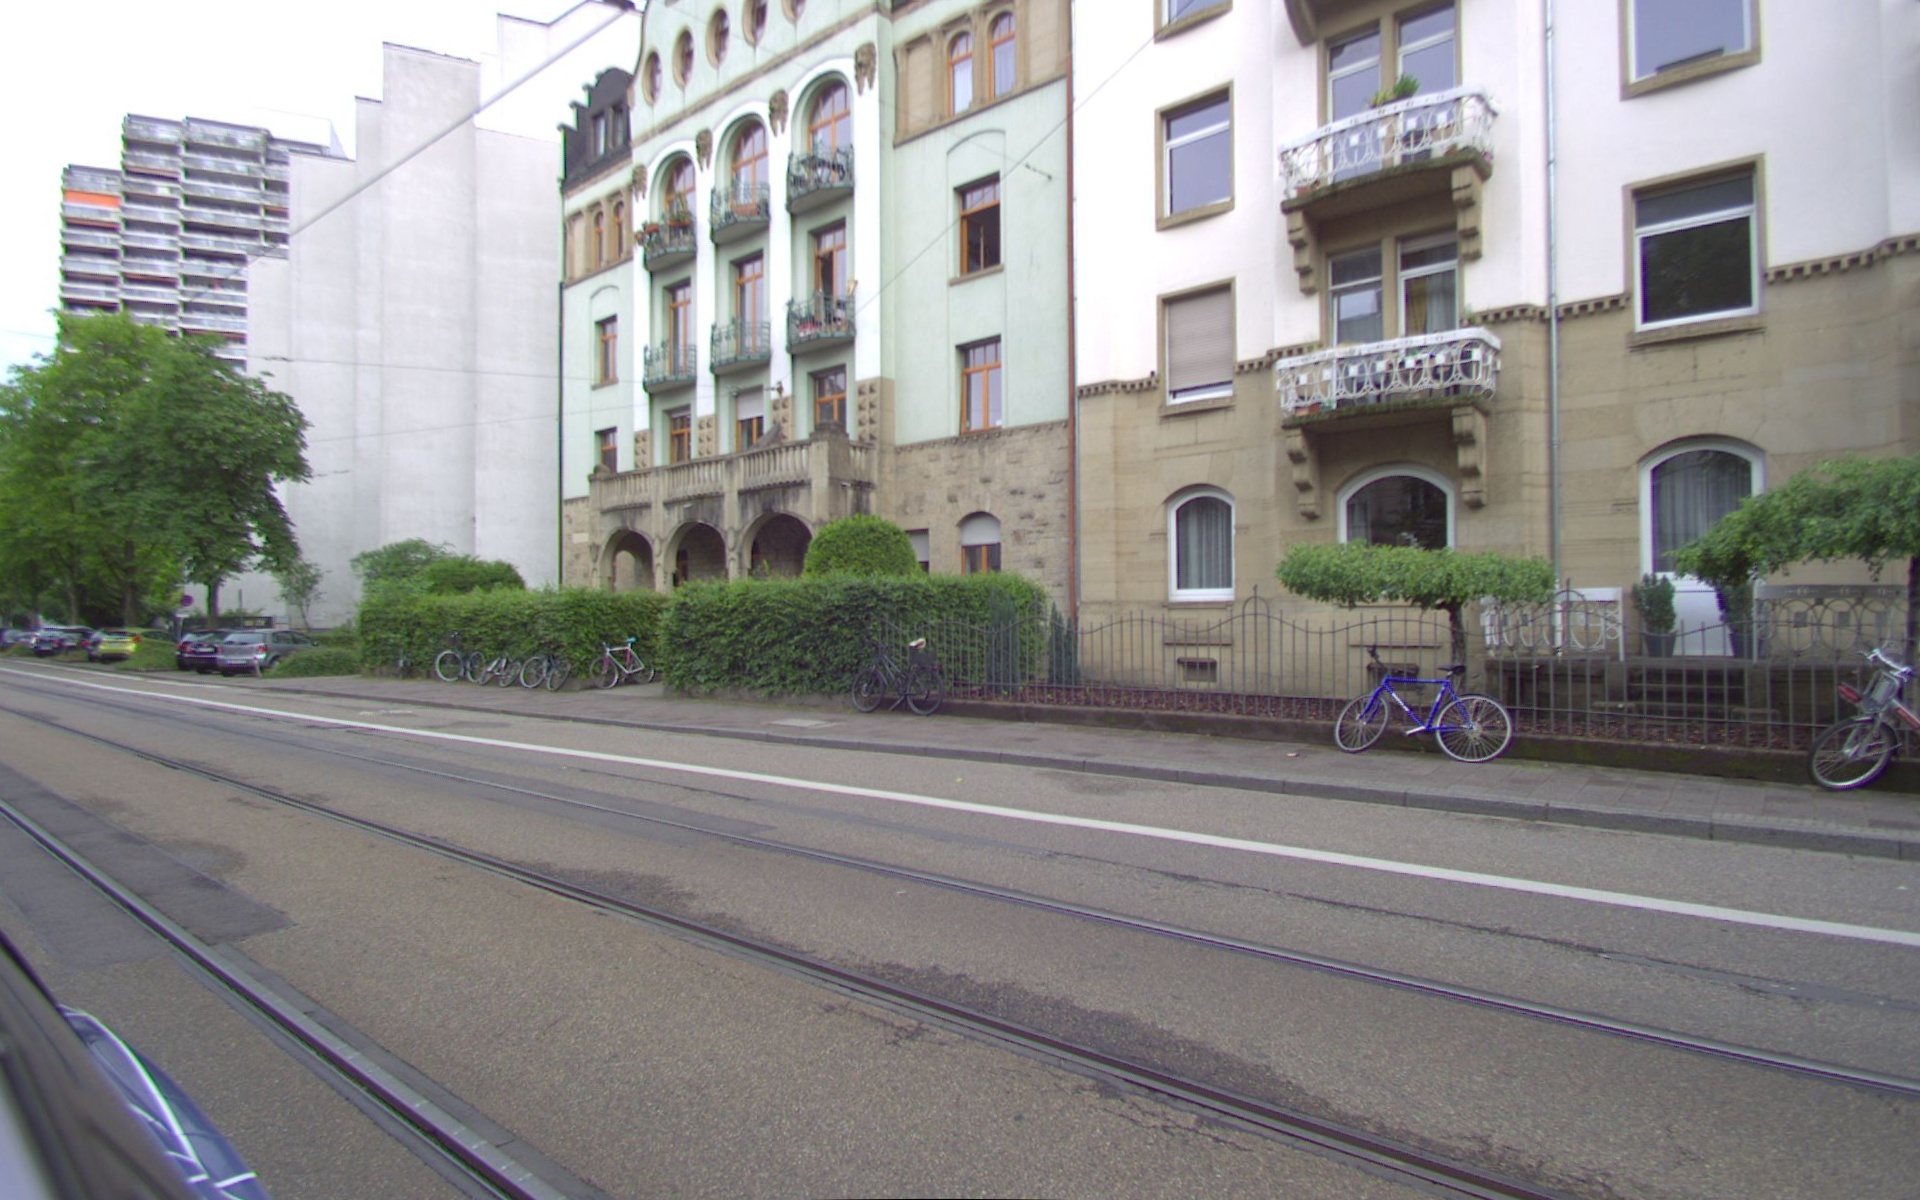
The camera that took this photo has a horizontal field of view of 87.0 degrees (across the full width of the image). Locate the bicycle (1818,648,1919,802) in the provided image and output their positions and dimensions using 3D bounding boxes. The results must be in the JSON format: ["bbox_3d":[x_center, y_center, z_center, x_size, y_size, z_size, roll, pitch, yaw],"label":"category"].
[{"bbox_3d":[7.352,0.911,7.362,1.618,1.110,0.382,-1,-2,29],"label":"bicycle"}]

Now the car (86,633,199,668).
[{"bbox_3d":[-34.262,2.091,42.553,1.670,1.405,4.003,0,-2,-4],"label":"car"}]

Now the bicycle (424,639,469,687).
[{"bbox_3d":[-12.115,1.460,23.872,1.545,1.092,0.356,-2,-2,40],"label":"bicycle"}]

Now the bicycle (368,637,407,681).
[{"bbox_3d":[-14.678,1.509,25.934,1.545,1.092,0.356,-2,-2,40],"label":"bicycle"}]

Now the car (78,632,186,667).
[{"bbox_3d":[-36.455,2.146,44.684,1.670,1.453,4.003,0,-2,-4],"label":"car"}]

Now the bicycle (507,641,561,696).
[{"bbox_3d":[-8.875,1.405,21.054,1.545,1.092,0.356,-2,-2,40],"label":"bicycle"}]

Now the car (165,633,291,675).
[{"bbox_3d":[-26.186,1.908,36.374,1.671,1.414,3.999,0,-2,0],"label":"car"}]

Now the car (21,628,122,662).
[{"bbox_3d":[-44.239,2.202,50.516,1.670,1.632,4.003,0,-2,-4],"label":"car"}]

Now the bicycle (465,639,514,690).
[{"bbox_3d":[-10.380,1.409,22.319,1.545,1.092,0.356,-2,-2,40],"label":"bicycle"}]

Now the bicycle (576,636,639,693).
[{"bbox_3d":[-7.275,1.322,20.914,0.300,1.091,1.190,-2,0,41],"label":"bicycle"}]

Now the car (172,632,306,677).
[{"bbox_3d":[-24.069,1.794,33.969,1.671,1.414,3.999,0,-2,0],"label":"car"}]

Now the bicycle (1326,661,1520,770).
[{"bbox_3d":[4.547,1.111,10.006,1.660,0.935,0.354,-3,-22,42],"label":"bicycle"}]

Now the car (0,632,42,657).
[{"bbox_3d":[-61.970,2.874,65.509,1.670,1.632,4.003,0,-2,-4],"label":"car"}]

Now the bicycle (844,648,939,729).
[{"bbox_3d":[-0.994,1.243,14.493,1.545,1.092,0.356,-2,-2,40],"label":"bicycle"}]

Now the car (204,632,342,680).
[{"bbox_3d":[-21.784,1.737,32.293,1.671,1.414,3.999,0,-2,0],"label":"car"}]

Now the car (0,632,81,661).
[{"bbox_3d":[-54.197,2.681,59.499,1.670,1.632,4.003,0,-2,-4],"label":"car"}]
